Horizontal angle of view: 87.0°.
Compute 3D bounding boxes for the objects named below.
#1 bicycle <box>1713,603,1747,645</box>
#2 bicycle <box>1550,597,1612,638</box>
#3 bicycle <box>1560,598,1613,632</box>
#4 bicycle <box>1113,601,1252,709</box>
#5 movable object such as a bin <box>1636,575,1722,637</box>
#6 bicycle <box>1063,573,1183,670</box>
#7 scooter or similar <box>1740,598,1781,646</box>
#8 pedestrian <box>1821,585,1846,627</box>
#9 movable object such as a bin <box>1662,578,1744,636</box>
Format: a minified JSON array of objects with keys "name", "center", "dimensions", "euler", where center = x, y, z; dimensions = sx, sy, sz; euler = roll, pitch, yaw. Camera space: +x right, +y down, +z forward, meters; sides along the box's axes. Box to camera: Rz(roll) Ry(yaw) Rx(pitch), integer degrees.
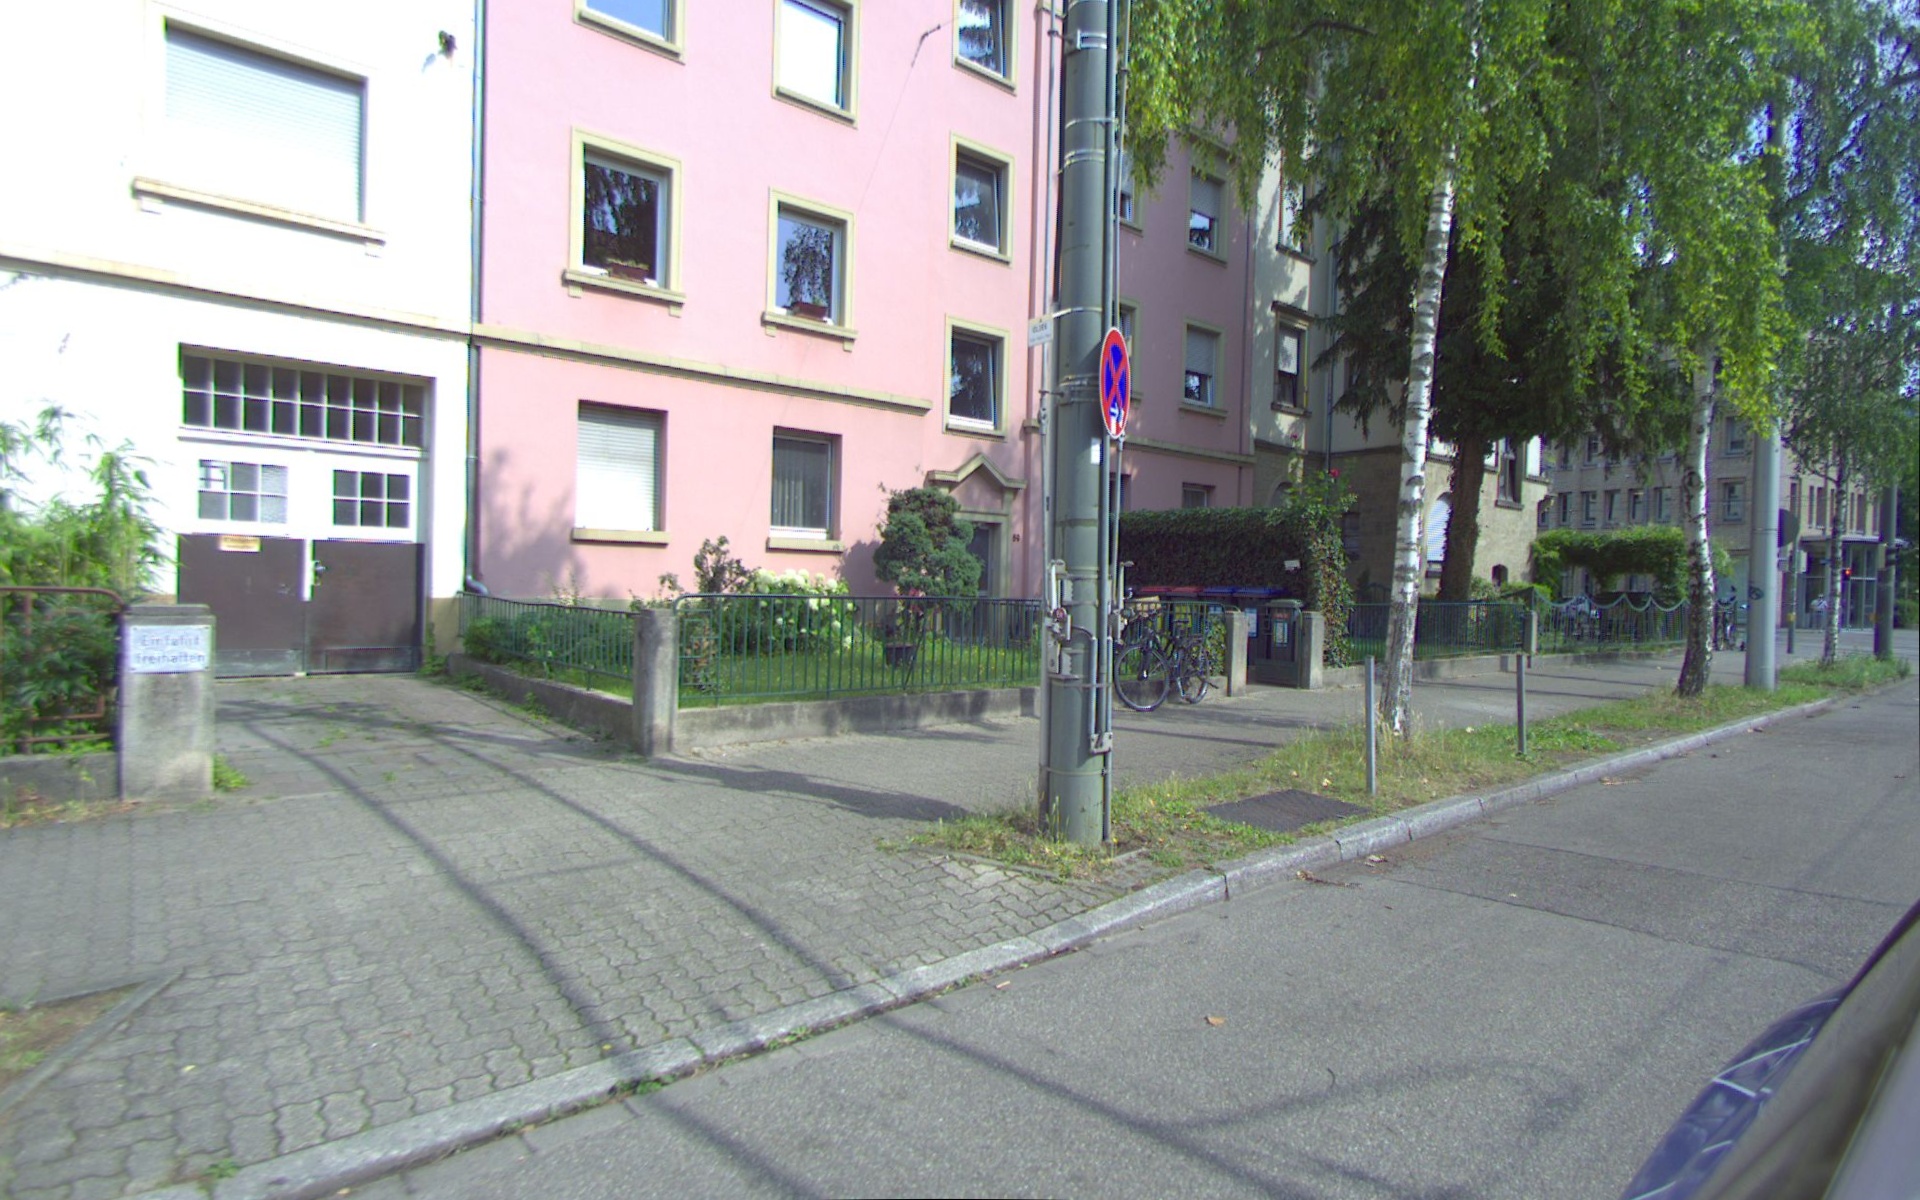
[{"name":"bicycle","center":[20.005,0.623,26.284],"dimensions":[1.455,1.034,0.350],"euler":[0,4,-41]},{"name":"bicycle","center":[16.640,0.450,27.130],"dimensions":[0.445,1.014,1.314],"euler":[0,2,-40]},{"name":"bicycle","center":[17.821,0.408,28.797],"dimensions":[0.445,0.911,1.169],"euler":[0,2,-40]},{"name":"bicycle","center":[2.406,0.554,10.832],"dimensions":[1.746,1.066,0.421],"euler":[0,2,-39]},{"name":"movable object such as a bin","center":[18.767,0.140,26.406],"dimensions":[1.964,1.510,1.305],"euler":[0,2,-39]},{"name":"bicycle","center":[2.231,0.266,14.048],"dimensions":[0.413,1.235,1.776],"euler":[1,2,-40]},{"name":"scooter or similar","center":[21.032,0.573,26.576],"dimensions":[1.166,1.193,0.522],"euler":[1,4,-39]},{"name":"pedestrian","center":[39.558,0.283,45.836],"dimensions":[0.732,1.865,0.797],"euler":[2,1,35]},{"name":"movable object such as a bin","center":[20.385,0.177,27.762],"dimensions":[1.964,1.510,1.305],"euler":[0,2,-39]}]
